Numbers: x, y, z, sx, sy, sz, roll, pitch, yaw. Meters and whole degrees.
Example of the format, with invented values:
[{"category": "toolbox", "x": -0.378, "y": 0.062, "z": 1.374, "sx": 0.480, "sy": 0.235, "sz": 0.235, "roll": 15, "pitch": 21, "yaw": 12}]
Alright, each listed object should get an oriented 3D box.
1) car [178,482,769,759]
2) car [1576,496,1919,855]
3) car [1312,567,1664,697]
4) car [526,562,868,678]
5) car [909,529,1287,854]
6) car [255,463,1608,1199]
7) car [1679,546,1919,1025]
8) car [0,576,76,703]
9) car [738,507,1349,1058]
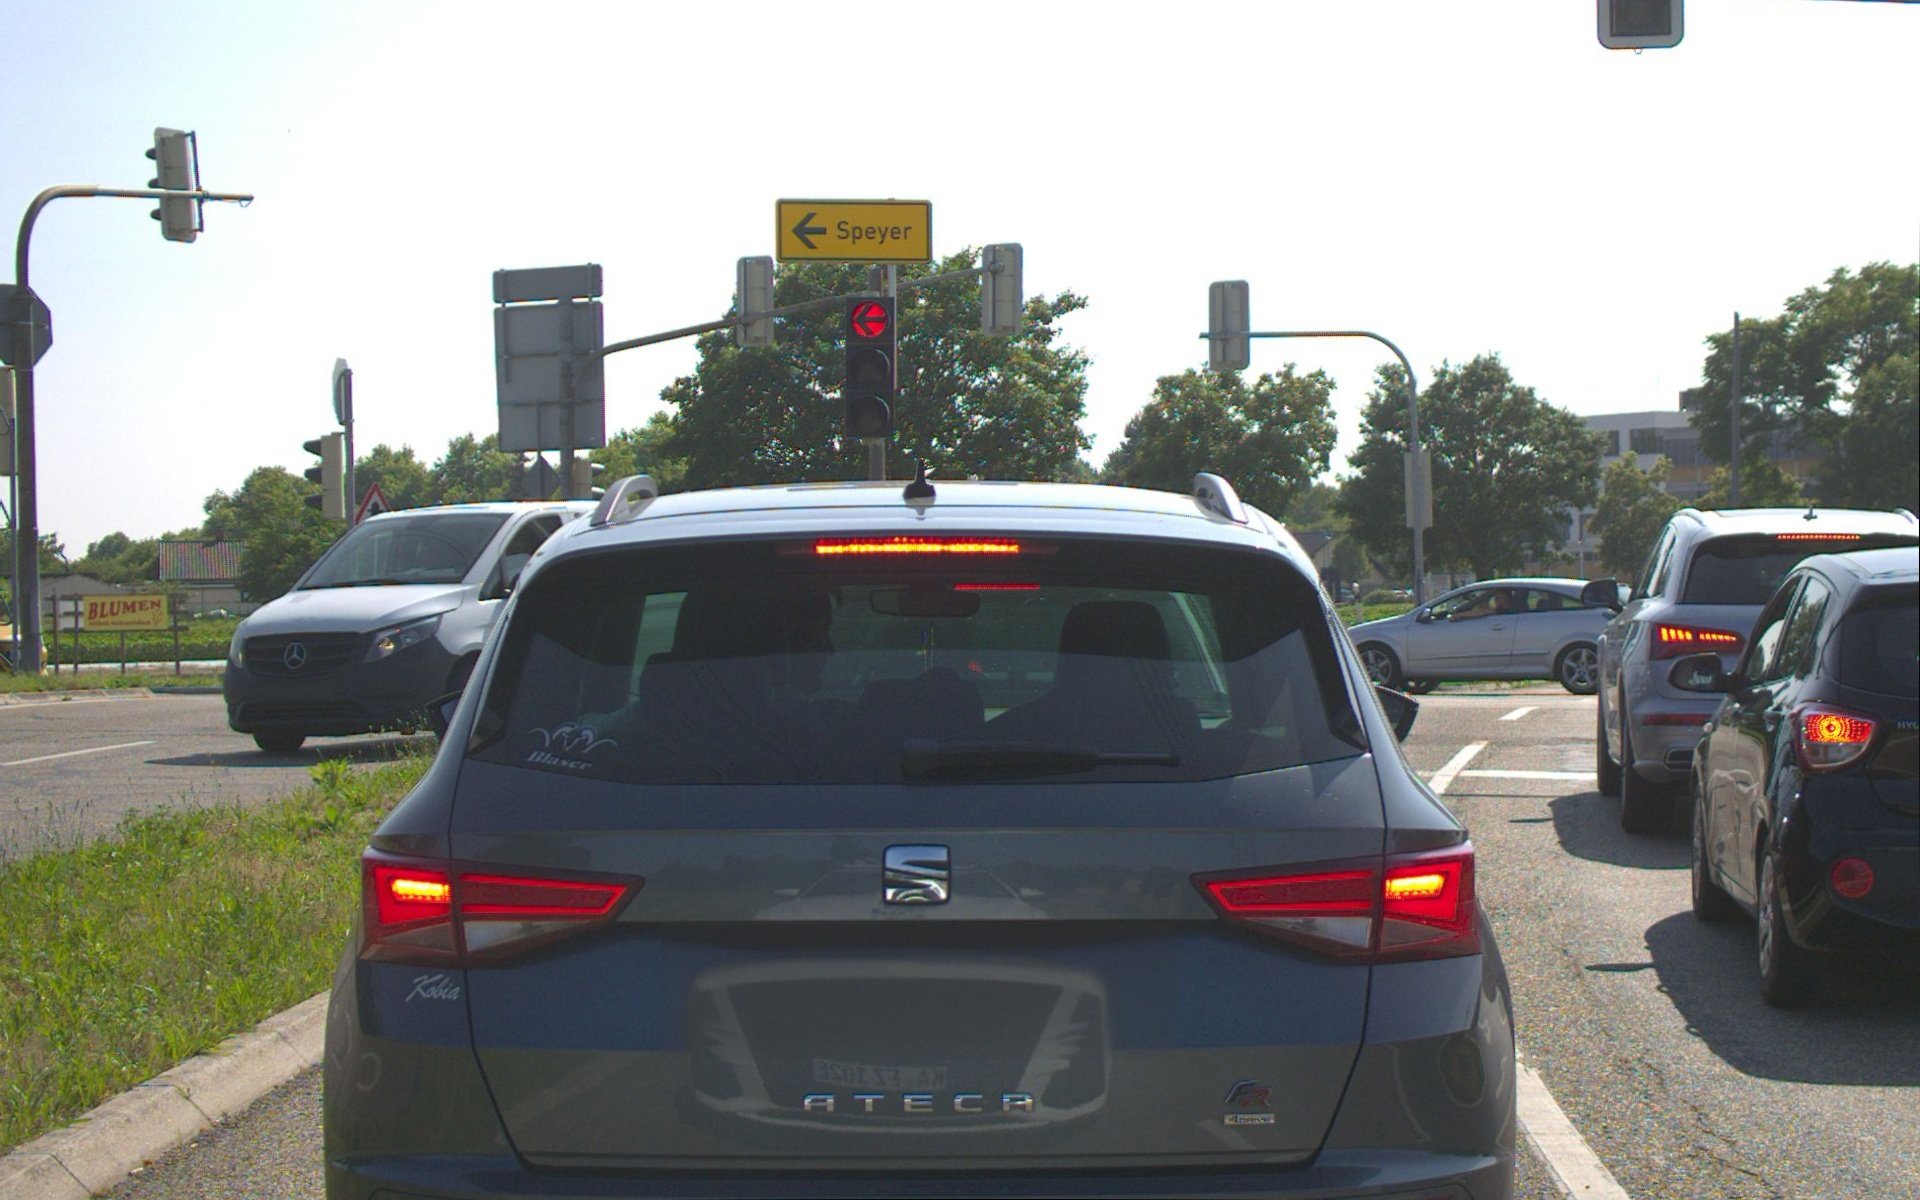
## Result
[{"category": "car", "x": -3.609, "y": 0.085, "z": 26.525, "sx": 1.996, "sy": 1.911, "sz": 4.940, "roll": 1, "pitch": 2, "yaw": 28}, {"category": "car", "x": 4.191, "y": 0.333, "z": 18.065, "sx": 1.633, "sy": 1.671, "sz": 3.749, "roll": 1, "pitch": 1, "yaw": 7}, {"category": "car", "x": 6.423, "y": 0.378, "z": 41.839, "sx": 3.873, "sy": 1.514, "sz": 1.805, "roll": 0, "pitch": 1, "yaw": 26}, {"category": "car", "x": -3.601, "y": 0.263, "z": 47.022, "sx": 4.327, "sy": 1.514, "sz": 1.805, "roll": 0, "pitch": 1, "yaw": 26}, {"category": "car", "x": 0.805, "y": 0.409, "z": 17.885, "sx": 1.742, "sy": 1.479, "sz": 3.623, "roll": 1, "pitch": 1, "yaw": 5}, {"category": "car", "x": -0.051, "y": 0.601, "z": 6.284, "sx": 1.742, "sy": 1.563, "sz": 3.624, "roll": 1, "pitch": 1, "yaw": 0}, {"category": "car", "x": 3.499, "y": 0.545, "z": 11.989, "sx": 1.633, "sy": 1.443, "sz": 3.294, "roll": 1, "pitch": 1, "yaw": 7}, {"category": "car", "x": -14.060, "y": 0.523, "z": 46.281, "sx": 3.993, "sy": 1.645, "sz": 1.817, "roll": 0, "pitch": 1, "yaw": 28}, {"category": "car", "x": 0.263, "y": 0.510, "z": 11.771, "sx": 1.742, "sy": 1.563, "sz": 3.624, "roll": 1, "pitch": 1, "yaw": 1}]
